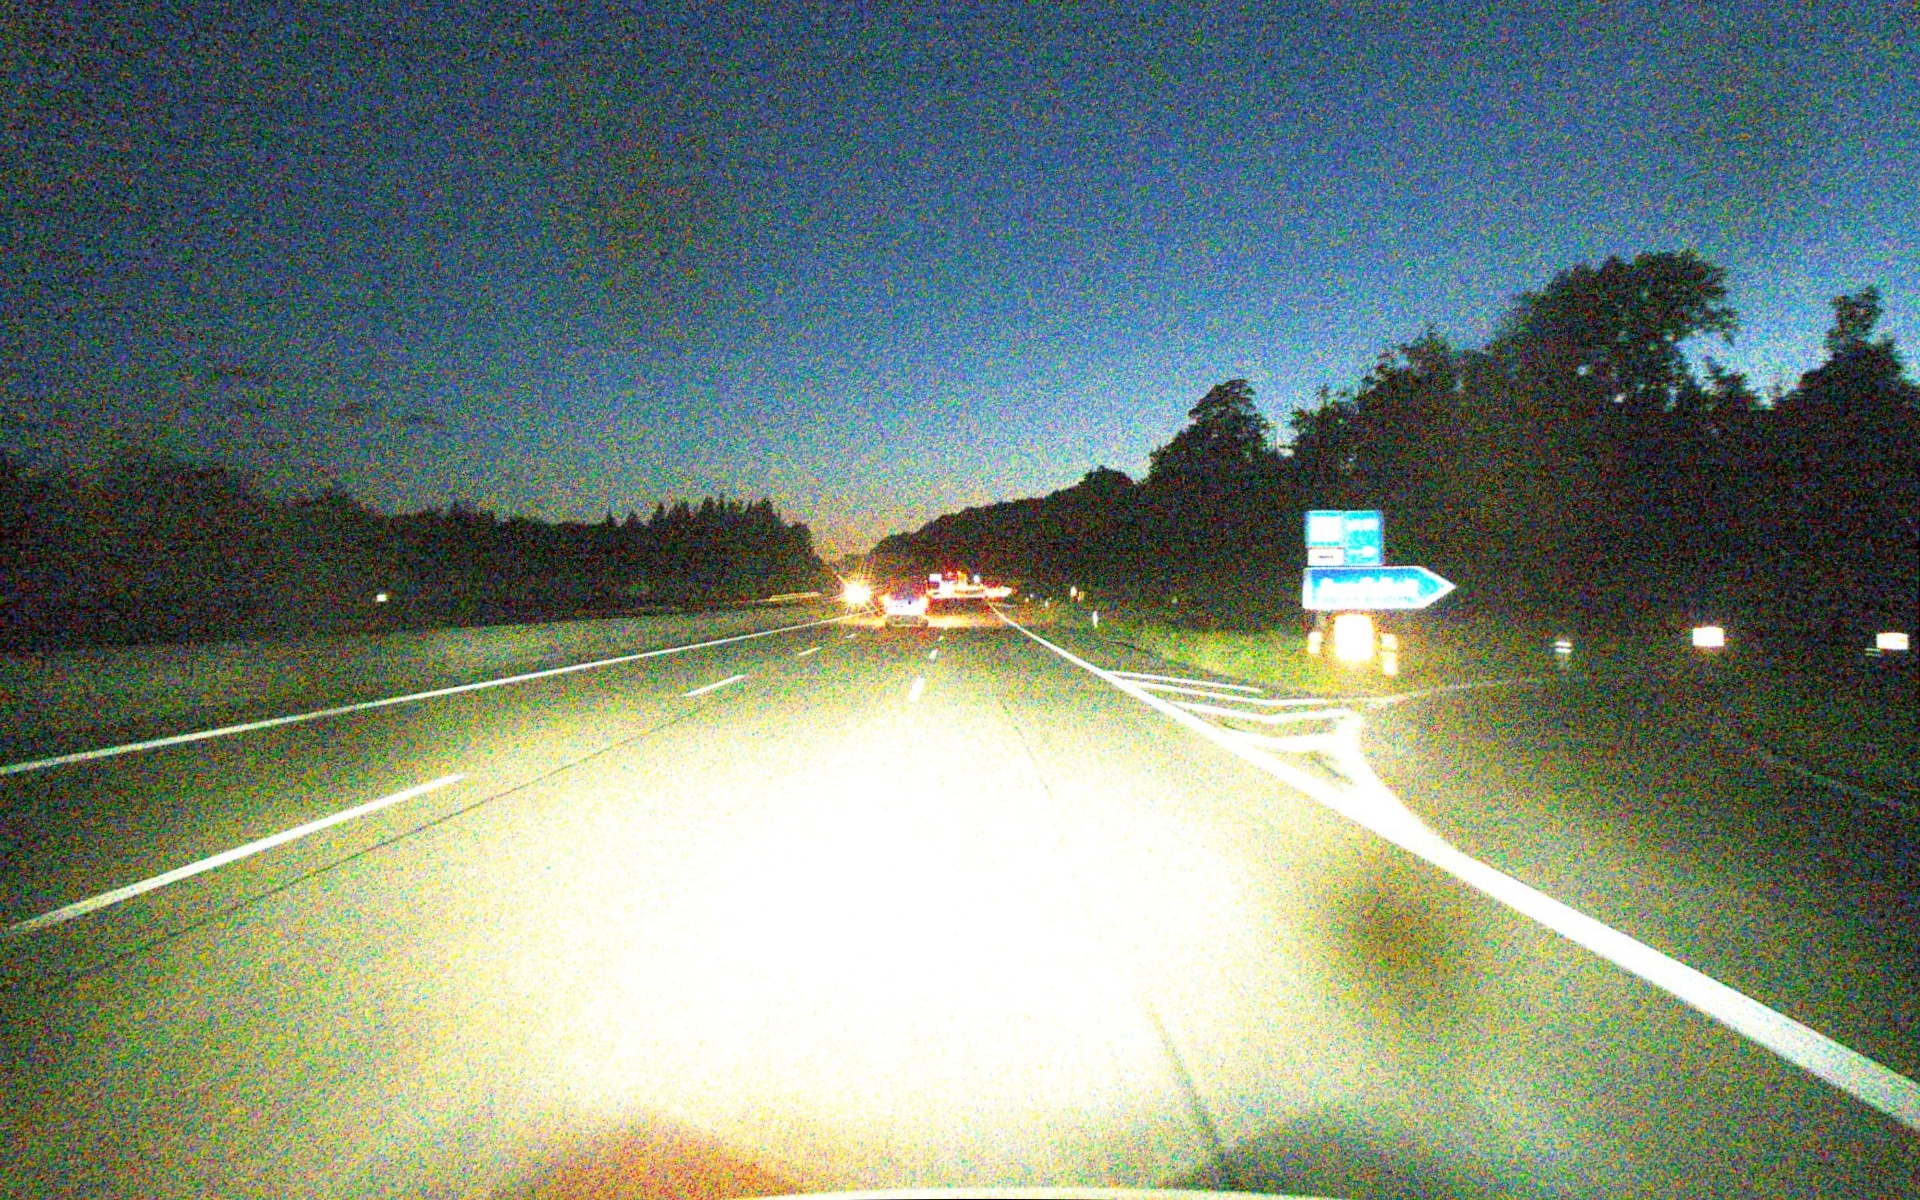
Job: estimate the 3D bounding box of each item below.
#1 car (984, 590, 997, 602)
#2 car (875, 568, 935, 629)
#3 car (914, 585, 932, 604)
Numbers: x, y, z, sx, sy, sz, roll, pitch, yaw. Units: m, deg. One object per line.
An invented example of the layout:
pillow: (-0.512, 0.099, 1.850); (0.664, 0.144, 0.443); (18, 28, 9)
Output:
car: (4.492, -0.628, 244.884); (1.806, 1.668, 4.000); (0, 1, -1)
car: (-2.583, -0.087, 79.642); (2.729, 2.781, 6.298); (0, 0, 0)
car: (-5.776, -0.817, 256.078); (2.730, 2.781, 6.296); (0, -1, -2)
